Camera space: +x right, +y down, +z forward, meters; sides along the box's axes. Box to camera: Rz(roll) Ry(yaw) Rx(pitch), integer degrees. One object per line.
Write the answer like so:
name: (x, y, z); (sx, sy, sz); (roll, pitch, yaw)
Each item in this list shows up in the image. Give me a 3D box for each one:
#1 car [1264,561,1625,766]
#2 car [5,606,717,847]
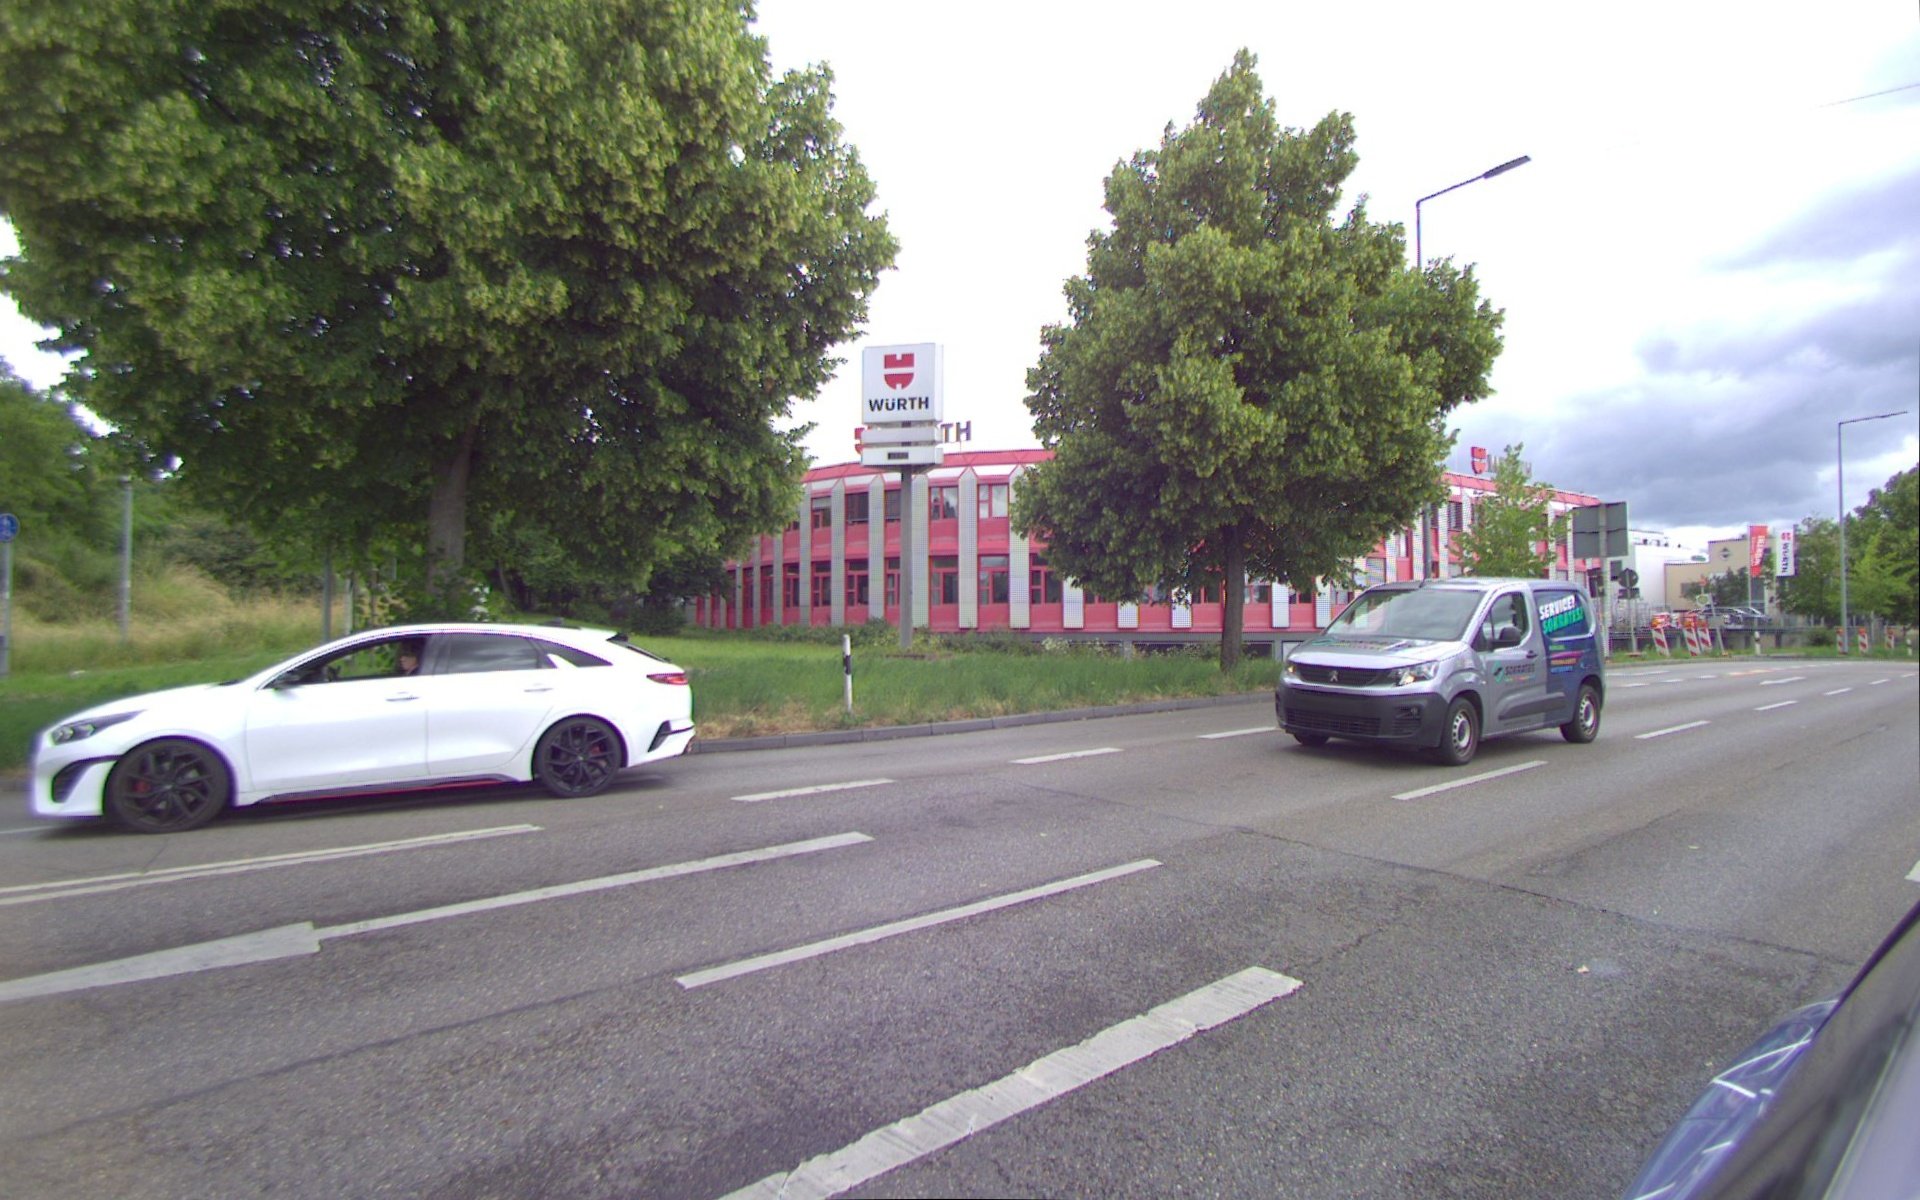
car: (5.299, 0.548, 10.873); (4.144, 1.802, 1.814); (0, 0, -37)
car: (-4.383, 0.818, 8.126); (4.422, 1.438, 1.838); (-1, -2, -27)
